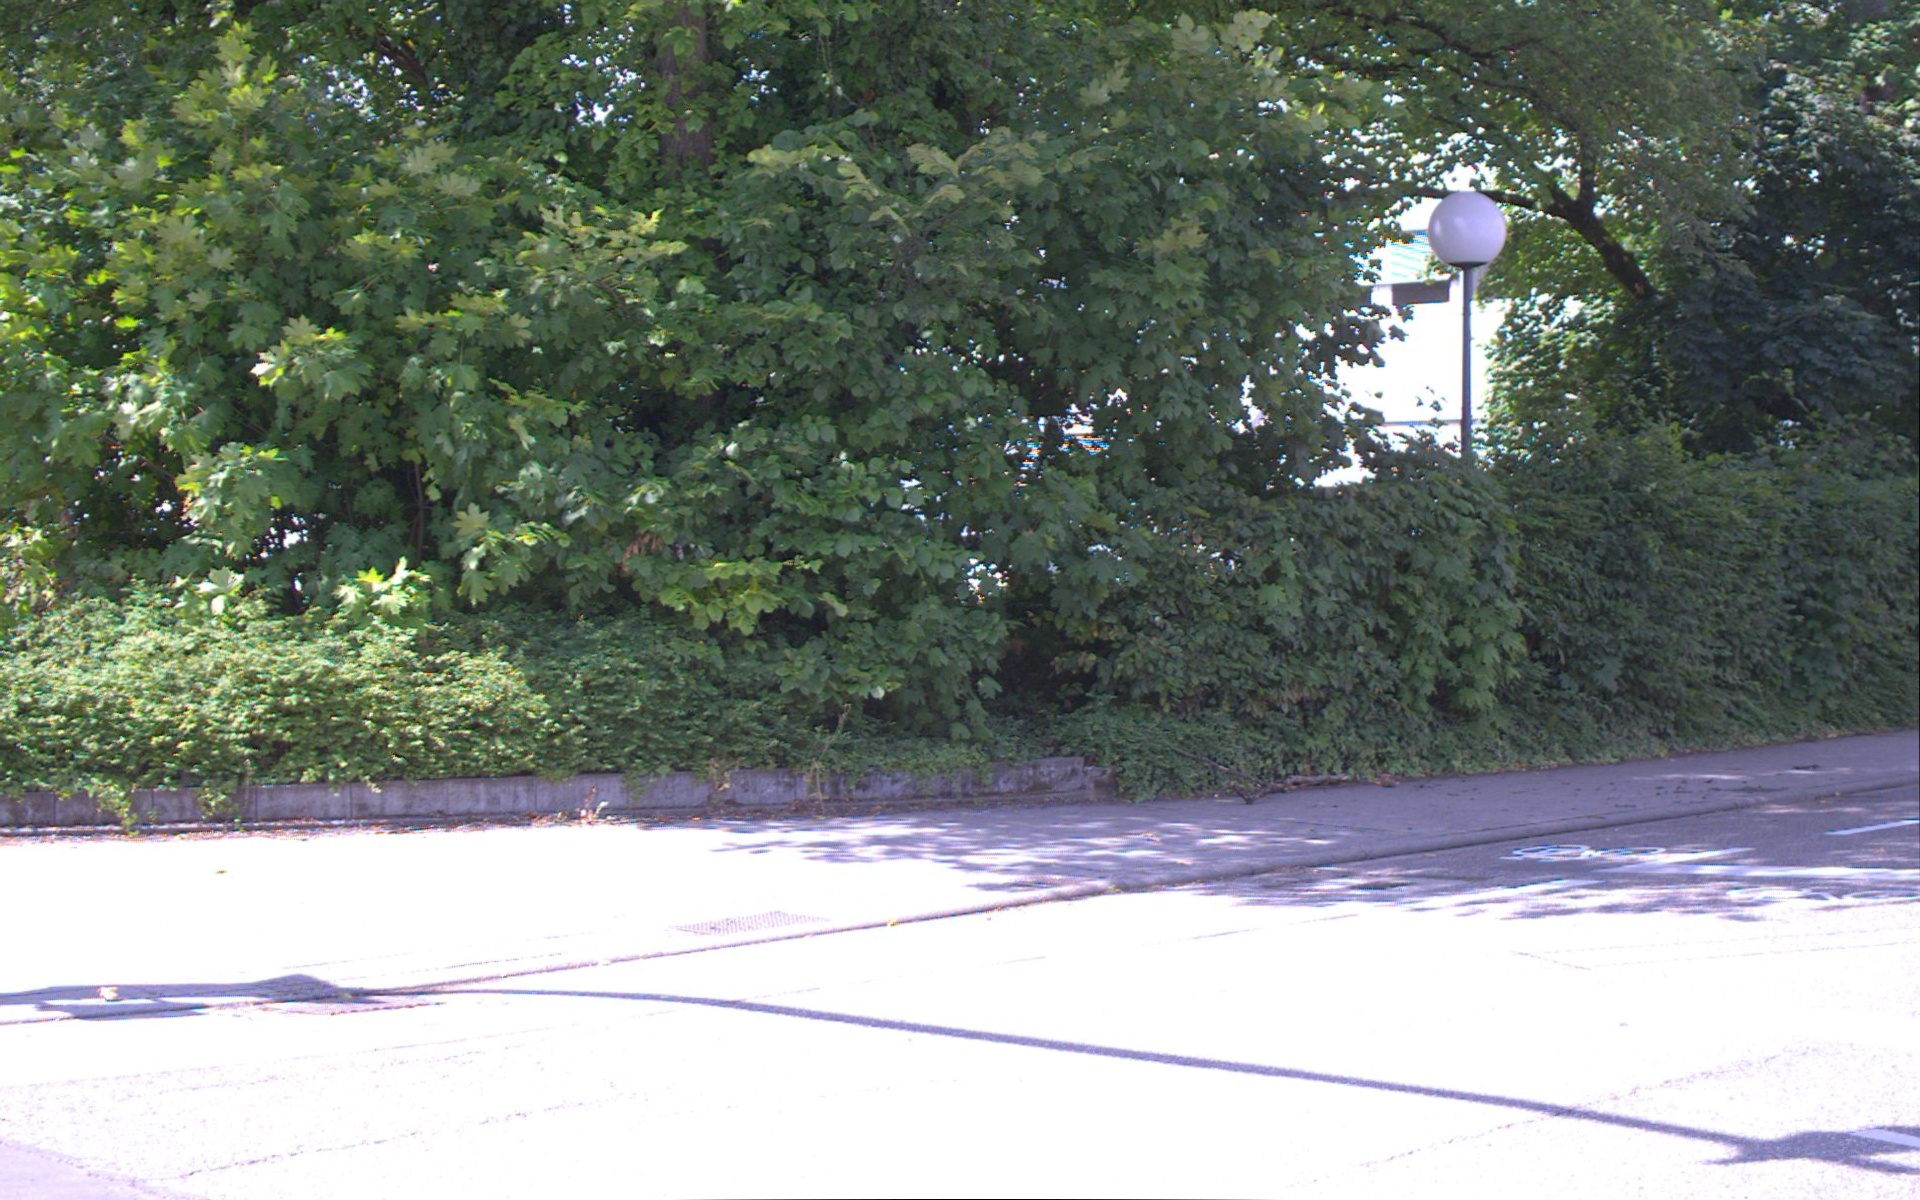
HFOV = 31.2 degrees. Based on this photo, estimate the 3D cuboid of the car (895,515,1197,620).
[{"bbox_3d":[1.403,-0.552,57.591,4.933,1.648,1.995,0,3,43],"label":"car"}]
